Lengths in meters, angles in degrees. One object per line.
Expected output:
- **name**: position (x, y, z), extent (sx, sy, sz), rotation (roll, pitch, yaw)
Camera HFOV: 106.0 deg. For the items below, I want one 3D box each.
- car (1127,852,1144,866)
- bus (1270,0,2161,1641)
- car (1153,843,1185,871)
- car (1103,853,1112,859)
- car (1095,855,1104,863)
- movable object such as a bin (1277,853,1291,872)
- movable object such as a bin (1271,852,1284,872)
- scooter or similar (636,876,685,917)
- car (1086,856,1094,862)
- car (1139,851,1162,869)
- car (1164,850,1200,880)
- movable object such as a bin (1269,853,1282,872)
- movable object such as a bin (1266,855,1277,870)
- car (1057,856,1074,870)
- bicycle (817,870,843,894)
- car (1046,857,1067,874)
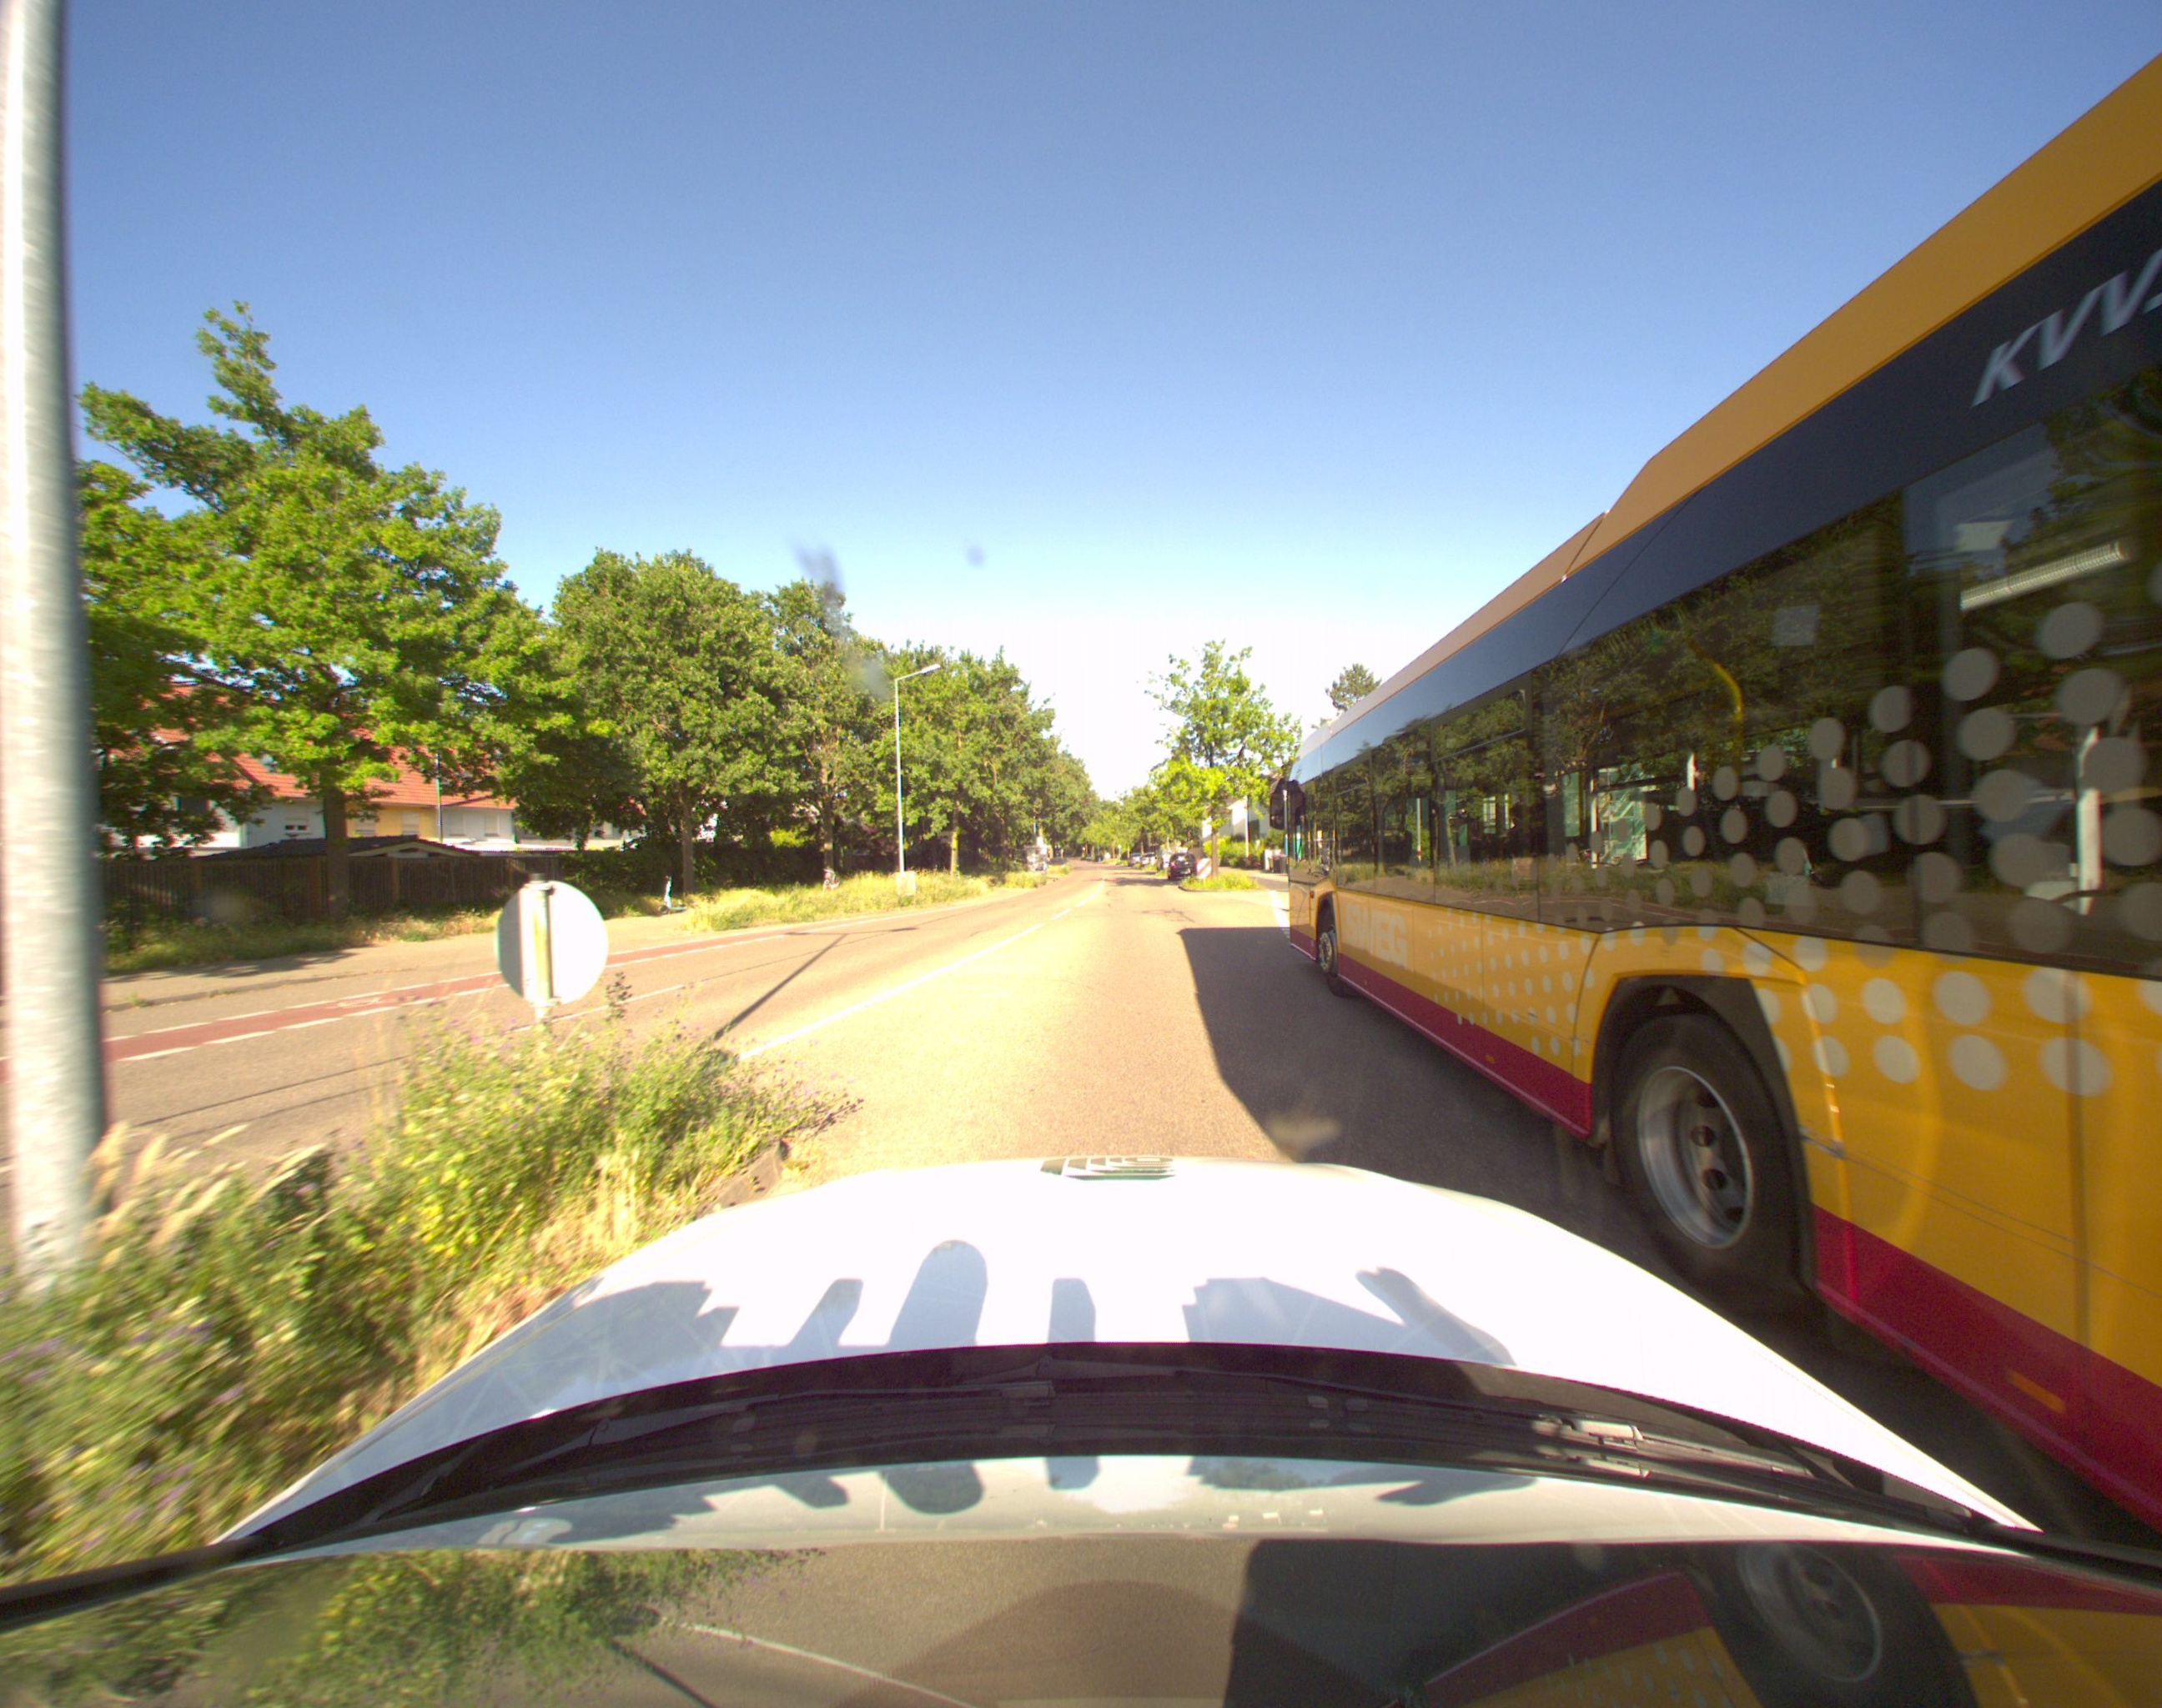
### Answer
- **car**: position (7.022, 0.670, 104.681), extent (1.927, 1.742, 4.000), rotation (-2, 0, 0)
- **bus**: position (3.530, -0.452, 5.497), extent (2.743, 3.458, 12.418), rotation (-3, -1, 6)
- **car**: position (6.633, 0.213, 61.732), extent (1.829, 1.971, 4.758), rotation (-2, 0, 0)
- **car**: position (6.497, 0.477, 199.929), extent (1.928, 1.454, 3.998), rotation (-2, 0, -1)
- **car**: position (3.937, 1.077, 173.965), extent (1.927, 1.542, 4.000), rotation (-2, 0, 0)
- **movable object such as a bin**: position (11.261, 0.467, 45.180), extent (0.601, 1.069, 0.646), rotation (-2, 0, 1)
- **movable object such as a bin**: position (11.114, 0.454, 46.098), extent (0.601, 1.069, 0.646), rotation (-2, 0, 1)
- **scooter or similar**: position (-13.633, 1.369, 26.437), extent (0.534, 1.218, 1.420), rotation (0, 1, 19)
- **car**: position (2.143, 1.195, 198.794), extent (1.928, 1.454, 3.998), rotation (-2, 0, -1)
- **car**: position (6.978, 0.612, 82.155), extent (1.929, 1.704, 4.000), rotation (-2, 0, 0)
- **car**: position (5.744, 0.597, 46.529), extent (1.666, 1.578, 3.754), rotation (-3, 0, 2)
- **movable object such as a bin**: position (11.181, 0.508, 46.908), extent (0.601, 1.069, 0.567), rotation (-2, 0, 1)
- **movable object such as a bin**: position (11.389, 0.506, 48.664), extent (0.527, 0.932, 0.549), rotation (-2, 0, 1)
- **car**: position (-1.808, 1.049, 94.449), extent (1.988, 1.556, 3.997), rotation (-1, 0, -2)
- **bicycle**: position (-11.740, 1.313, 38.086), extent (0.503, 1.053, 1.881), rotation (-2, 0, 3)
- **car**: position (-2.336, 1.051, 77.595), extent (1.930, 1.479, 3.998), rotation (-2, 0, -1)
